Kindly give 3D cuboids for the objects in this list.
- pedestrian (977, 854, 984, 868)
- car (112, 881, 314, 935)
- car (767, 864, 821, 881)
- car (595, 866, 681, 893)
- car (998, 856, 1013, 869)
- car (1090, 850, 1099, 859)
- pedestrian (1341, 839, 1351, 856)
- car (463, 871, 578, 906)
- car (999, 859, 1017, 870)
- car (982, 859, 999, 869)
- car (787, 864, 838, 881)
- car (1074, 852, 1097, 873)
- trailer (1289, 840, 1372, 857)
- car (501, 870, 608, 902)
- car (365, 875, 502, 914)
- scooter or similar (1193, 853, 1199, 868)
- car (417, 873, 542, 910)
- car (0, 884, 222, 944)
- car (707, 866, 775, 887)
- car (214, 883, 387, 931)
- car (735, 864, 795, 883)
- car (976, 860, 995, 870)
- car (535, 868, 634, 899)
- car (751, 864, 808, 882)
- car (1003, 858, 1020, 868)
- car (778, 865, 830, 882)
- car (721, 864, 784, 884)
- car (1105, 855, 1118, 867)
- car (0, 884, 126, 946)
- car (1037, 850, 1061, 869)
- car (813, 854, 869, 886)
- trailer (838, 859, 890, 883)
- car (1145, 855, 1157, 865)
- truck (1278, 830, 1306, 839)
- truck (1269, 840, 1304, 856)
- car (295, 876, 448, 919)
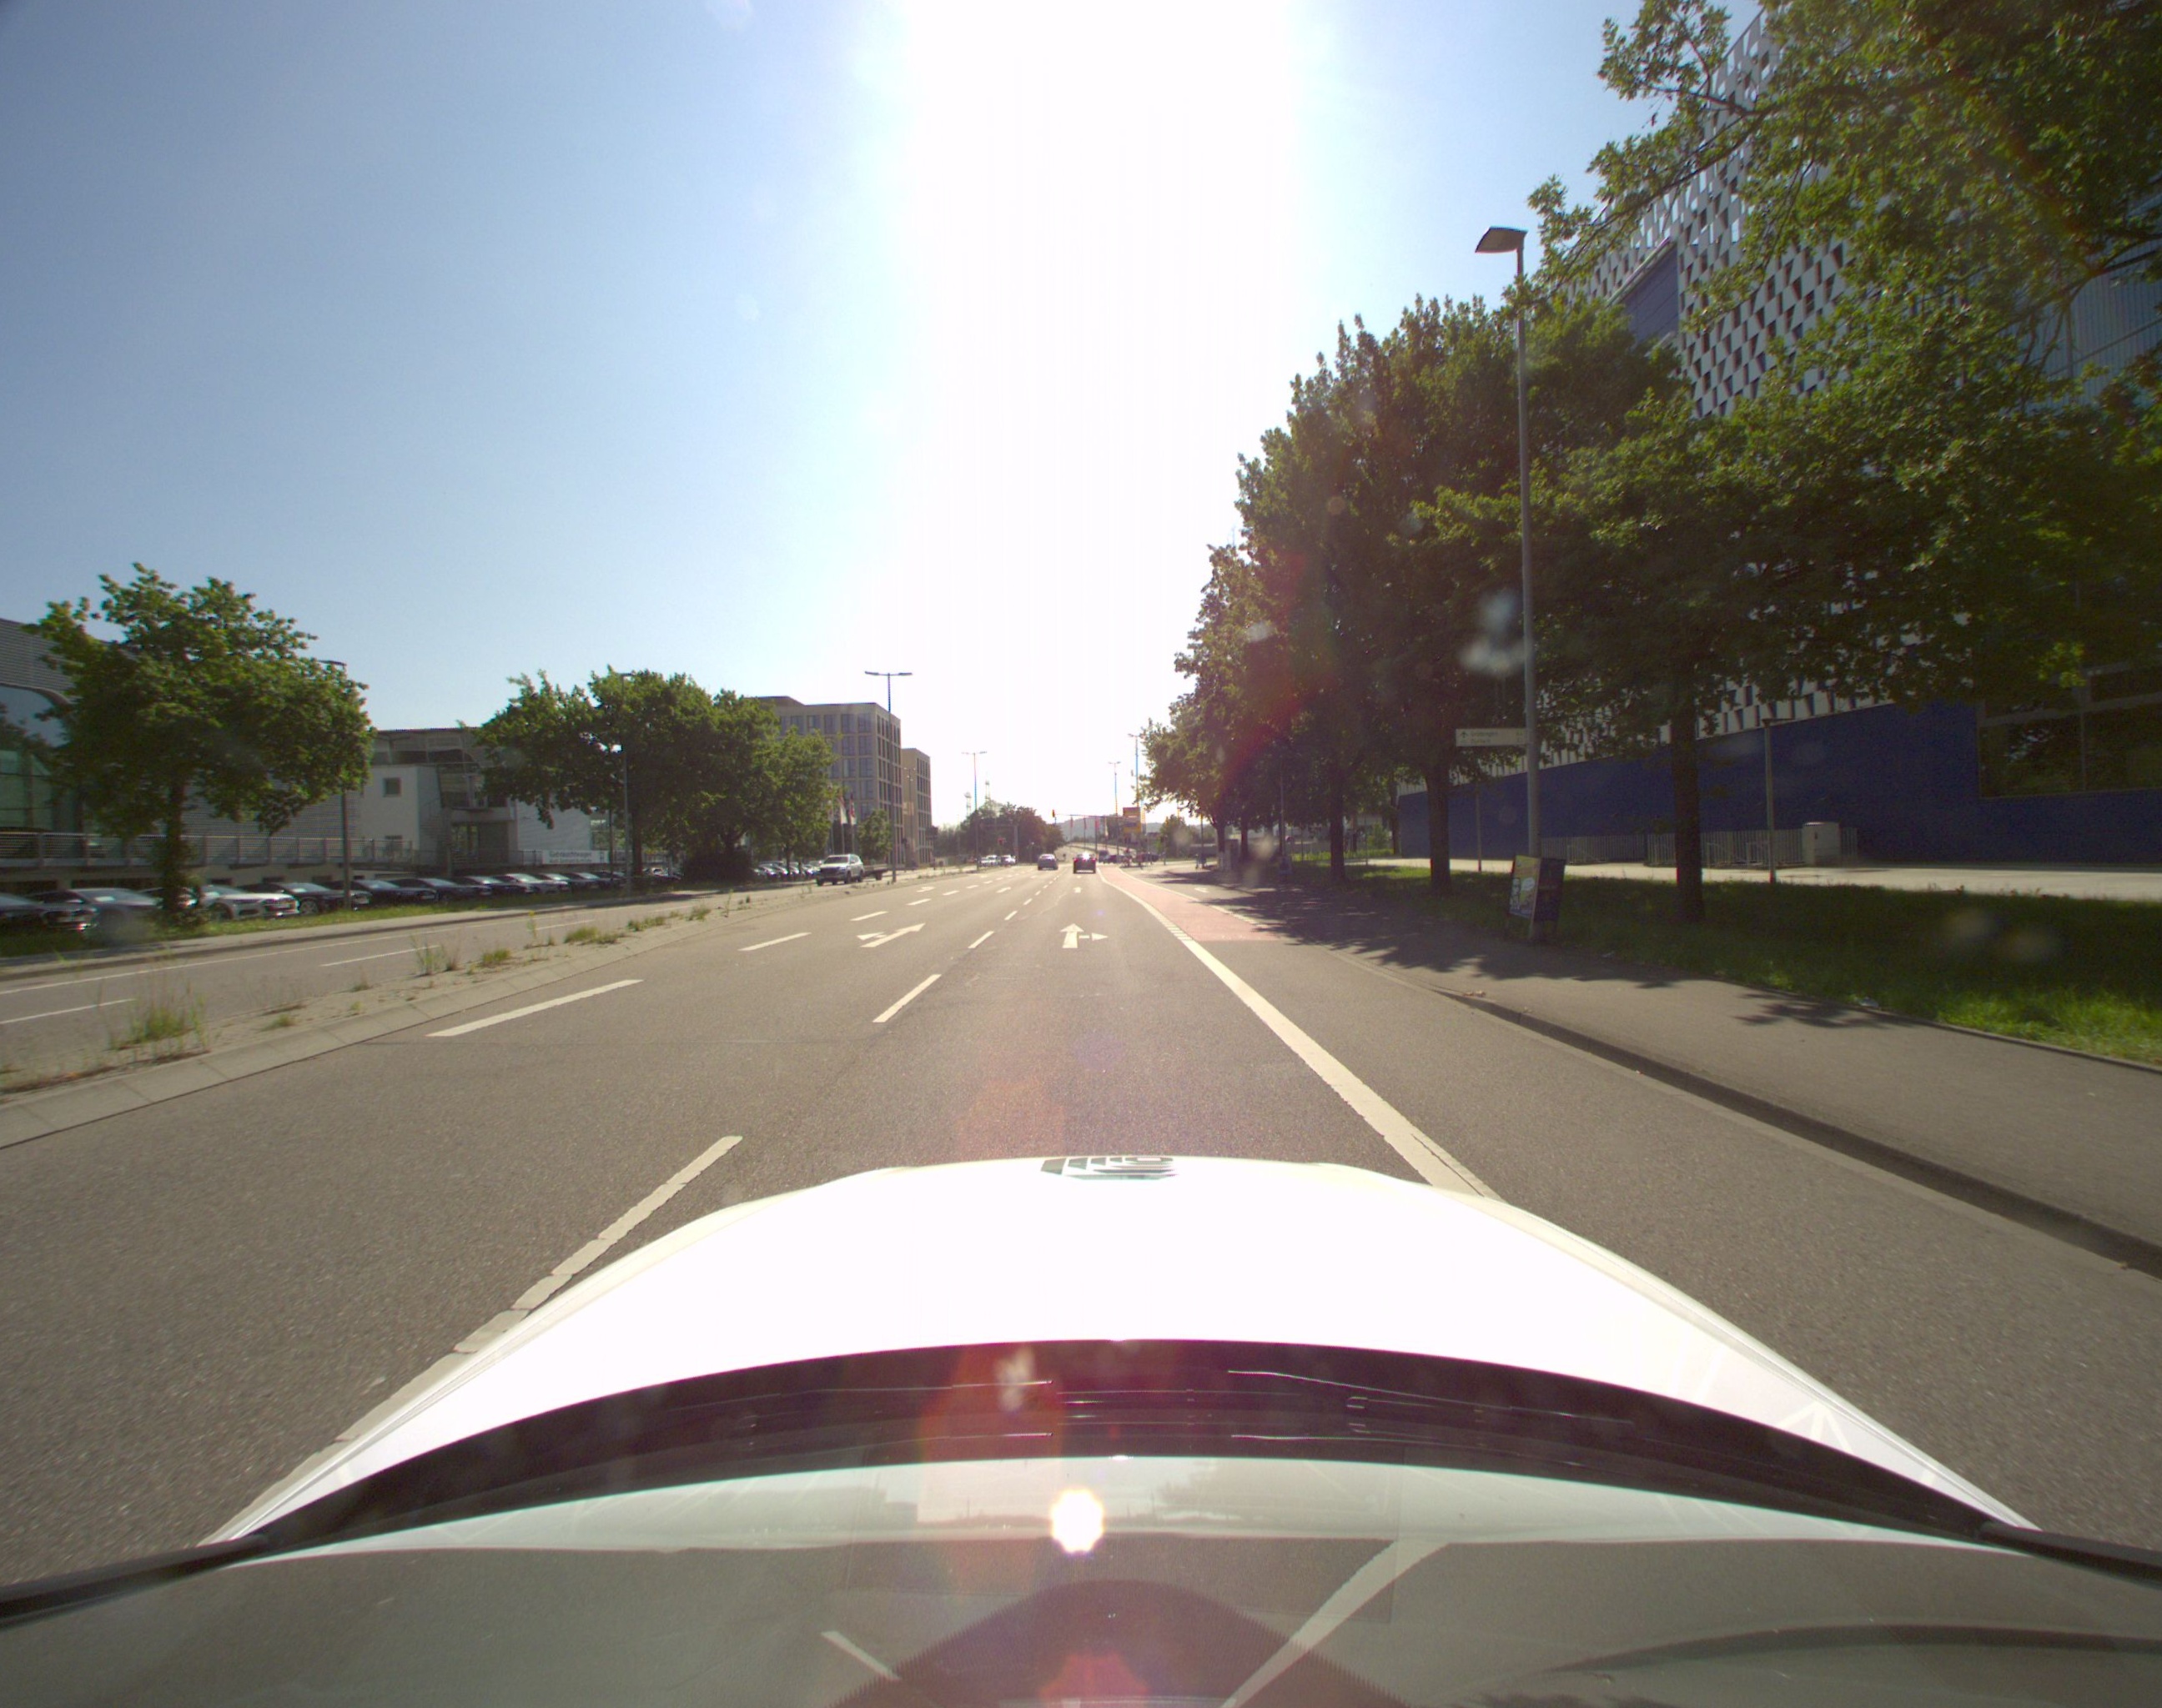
[{"bbox_3d":[-13.894,0.972,112.802,0.759,2.013,0.927,0,1,-24],"label":"pedestrian"},{"bbox_3d":[-26.670,1.638,25.150,4.027,1.376,2.026,-2,0,1],"label":"car"},{"bbox_3d":[-25.059,1.593,71.130,3.974,1.343,2.000,-2,0,-1],"label":"car"},{"bbox_3d":[-26.159,1.485,48.186,3.973,1.376,1.924,-2,0,1],"label":"car"},{"bbox_3d":[-8.331,0.897,90.210,1.210,1.331,2.802,0,1,2],"label":"car"},{"bbox_3d":[3.184,0.011,188.975,1.986,2.013,3.982,0,1,1],"label":"car"},{"bbox_3d":[27.497,-0.693,84.479,0.627,1.770,0.802,-2,0,-10],"label":"pedestrian"},{"bbox_3d":[-26.061,1.595,37.967,3.973,1.376,1.924,-2,0,1],"label":"car"},{"bbox_3d":[-10.873,1.591,121.205,1.807,1.464,4.006,-2,0,5],"label":"car"},{"bbox_3d":[-14.148,1.618,127.390,1.807,1.464,4.006,-2,0,5],"label":"car"},{"bbox_3d":[-25.036,1.730,76.040,3.974,1.343,2.000,-2,0,-1],"label":"car"},{"bbox_3d":[0.367,0.682,66.999,1.801,1.640,4.459,-2,0,1],"label":"car"},{"bbox_3d":[37.527,-0.875,122.839,11.819,2.469,2.002,0,1,3],"label":"trailer"},{"bbox_3d":[-25.964,1.582,40.270,3.973,1.376,1.924,-2,0,1],"label":"car"},{"bbox_3d":[-26.215,1.620,33.071,3.973,1.376,1.924,-2,0,1],"label":"car"},{"bbox_3d":[9.752,0.545,69.157,0.348,1.233,1.316,-2,0,14],"label":"scooter or similar"},{"bbox_3d":[-26.141,1.612,35.471,3.973,1.376,1.924,-2,0,1],"label":"car"},{"bbox_3d":[-26.688,1.630,22.461,3.973,1.376,1.866,-2,0,1],"label":"car"},{"bbox_3d":[-25.122,1.667,60.254,4.137,1.343,2.000,-2,0,-1],"label":"car"},{"bbox_3d":[-26.492,1.767,27.748,3.973,1.376,1.924,-2,0,1],"label":"car"},{"bbox_3d":[-25.270,1.545,65.201,3.974,1.343,2.000,-2,0,-1],"label":"car"},{"bbox_3d":[-14.059,1.604,120.047,1.883,1.464,4.006,-2,0,5],"label":"car"},{"bbox_3d":[-25.946,1.527,42.657,3.973,1.376,1.924,-2,0,1],"label":"car"},{"bbox_3d":[-25.211,1.595,68.187,3.976,1.343,1.999,-2,0,-2],"label":"car"},{"bbox_3d":[-10.920,1.467,128.181,1.807,1.464,4.006,-2,0,5],"label":"car"},{"bbox_3d":[-25.038,1.758,73.650,3.974,1.343,2.000,-2,0,-1],"label":"car"},{"bbox_3d":[-25.361,1.563,62.888,3.974,1.343,2.000,-2,0,-1],"label":"car"},{"bbox_3d":[4.616,1.041,124.026,1.753,1.758,3.600,0,1,-2],"label":"car"},{"bbox_3d":[-26.796,1.544,20.197,3.973,1.376,1.866,-2,0,1],"label":"car"},{"bbox_3d":[-3.084,0.515,79.300,1.986,1.684,4.002,-2,0,2],"label":"car"},{"bbox_3d":[-14.600,0.935,49.920,1.988,1.832,4.935,-2,0,-1],"label":"car"},{"bbox_3d":[-14.638,1.105,55.327,1.988,1.453,5.769,-2,0,-1],"label":"trailer"},{"bbox_3d":[10.267,0.826,119.333,1.682,1.359,4.003,0,1,3],"label":"car"},{"bbox_3d":[47.648,-4.440,184.376,5.885,2.013,2.002,0,1,3],"label":"truck"},{"bbox_3d":[31.006,-0.892,123.152,4.859,2.423,2.003,0,1,4],"label":"truck"},{"bbox_3d":[-26.338,1.598,30.322,3.973,1.376,1.924,-2,0,1],"label":"car"}]
